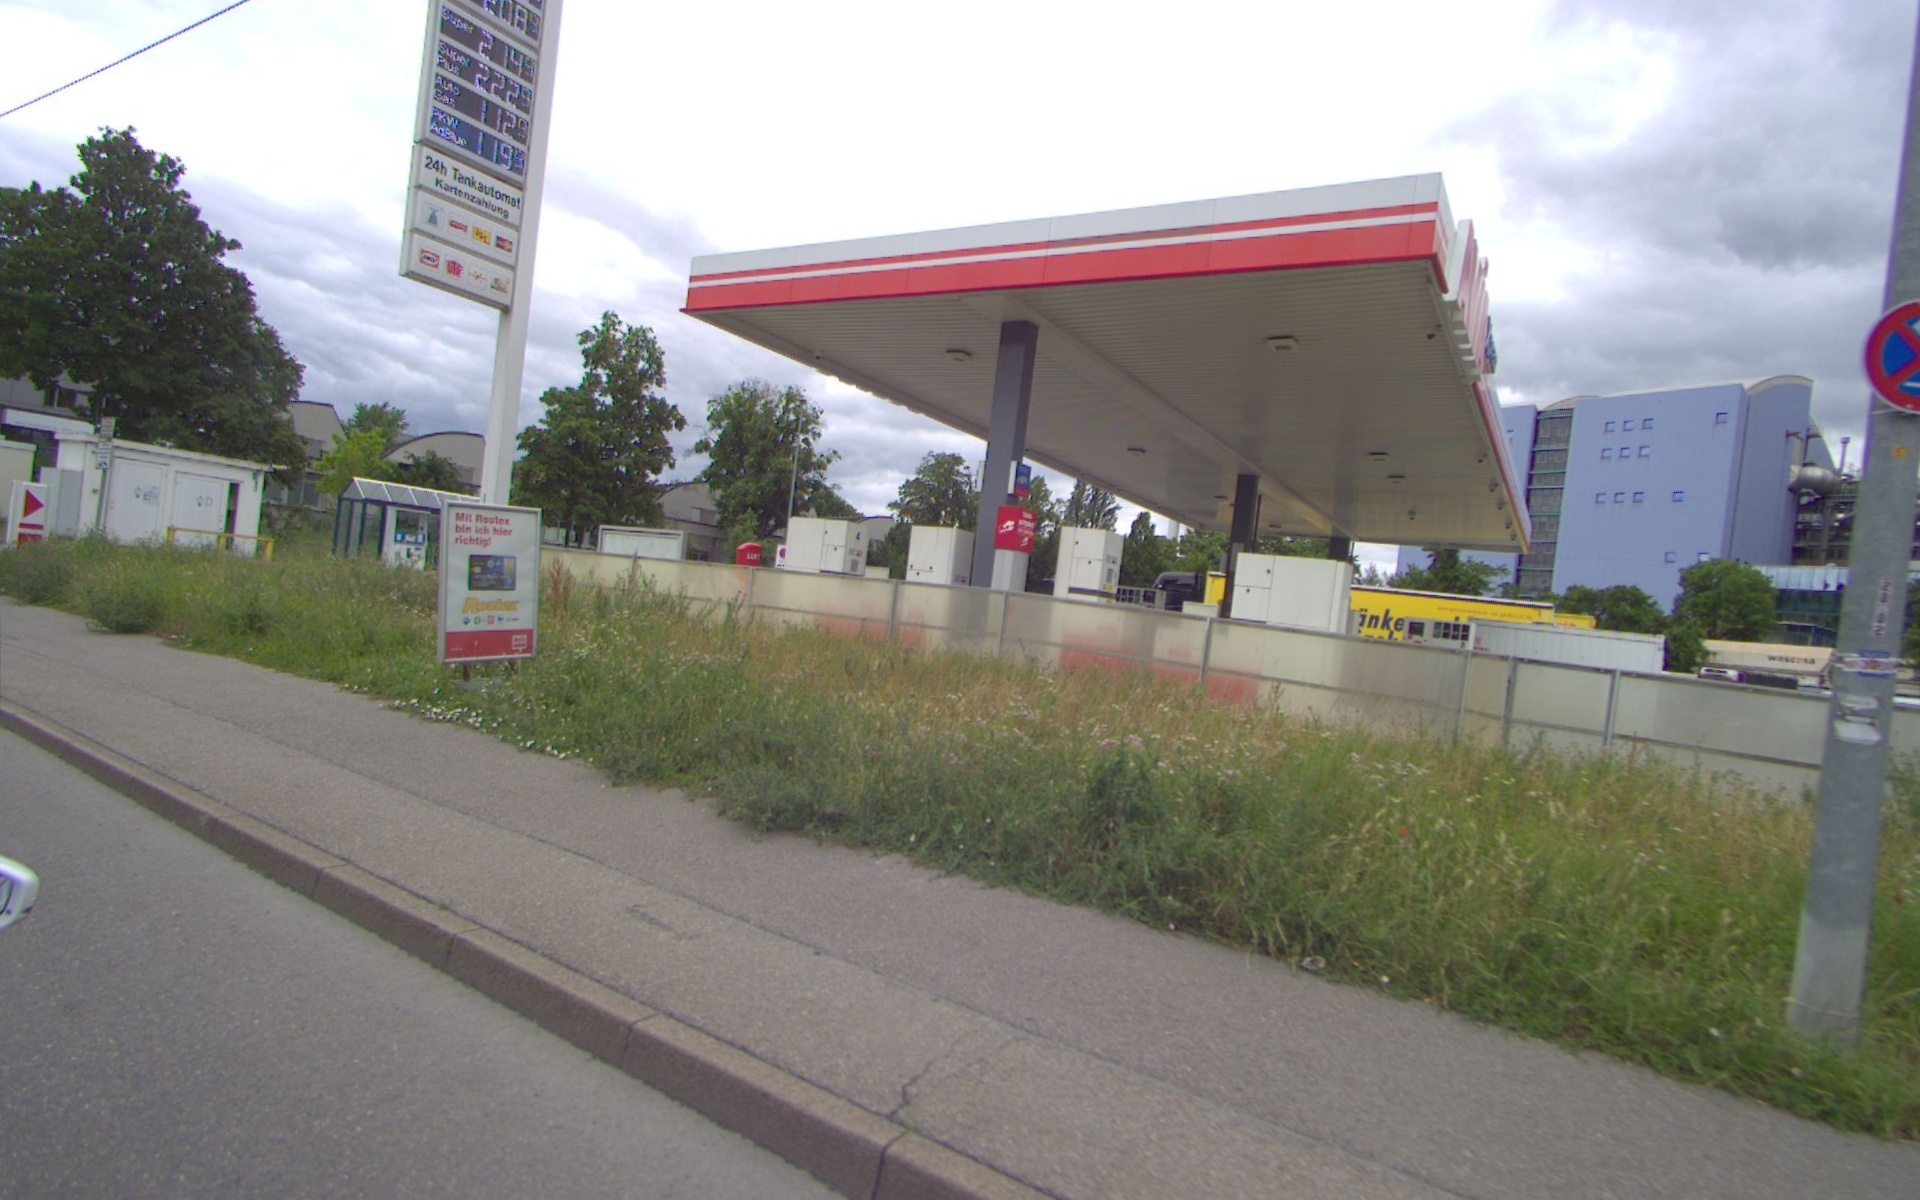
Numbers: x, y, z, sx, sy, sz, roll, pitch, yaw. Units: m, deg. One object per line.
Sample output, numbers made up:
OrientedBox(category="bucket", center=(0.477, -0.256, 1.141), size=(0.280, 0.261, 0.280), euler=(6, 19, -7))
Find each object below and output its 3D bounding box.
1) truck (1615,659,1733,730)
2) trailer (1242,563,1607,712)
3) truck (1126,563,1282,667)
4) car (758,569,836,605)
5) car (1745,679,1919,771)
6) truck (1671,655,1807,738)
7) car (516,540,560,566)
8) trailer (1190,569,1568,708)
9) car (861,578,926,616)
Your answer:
OrientedBox(category="truck", center=(55.670, 7.406, 78.286), size=(11.857, 4.342, 2.848), euler=(8, -1, -32))
OrientedBox(category="trailer", center=(20.281, 1.470, 45.057), size=(14.064, 4.783, 3.002), euler=(7, 1, 32))
OrientedBox(category="truck", center=(11.170, 0.684, 46.098), size=(5.940, 3.964, 2.959), euler=(7, 1, 31))
OrientedBox(category="car", center=(-10.290, -0.834, 63.584), size=(4.576, 1.666, 1.964), euler=(7, 1, 32))
OrientedBox(category="car", center=(25.232, 3.525, 28.041), size=(4.869, 1.936, 1.985), euler=(7, 0, 32))
OrientedBox(category="truck", center=(51.483, 6.422, 66.316), size=(11.857, 4.342, 2.848), euler=(8, -1, -32))
OrientedBox(category="car", center=(-31.137, -3.463, 74.166), size=(1.895, 1.540, 4.020), euler=(6, 1, -38))
OrientedBox(category="trailer", center=(17.180, 1.413, 42.382), size=(14.064, 3.964, 3.002), euler=(7, 1, 32))
OrientedBox(category="car", center=(-4.695, -0.246, 70.051), size=(2.082, 2.129, 4.854), euler=(6, 0, -36))
